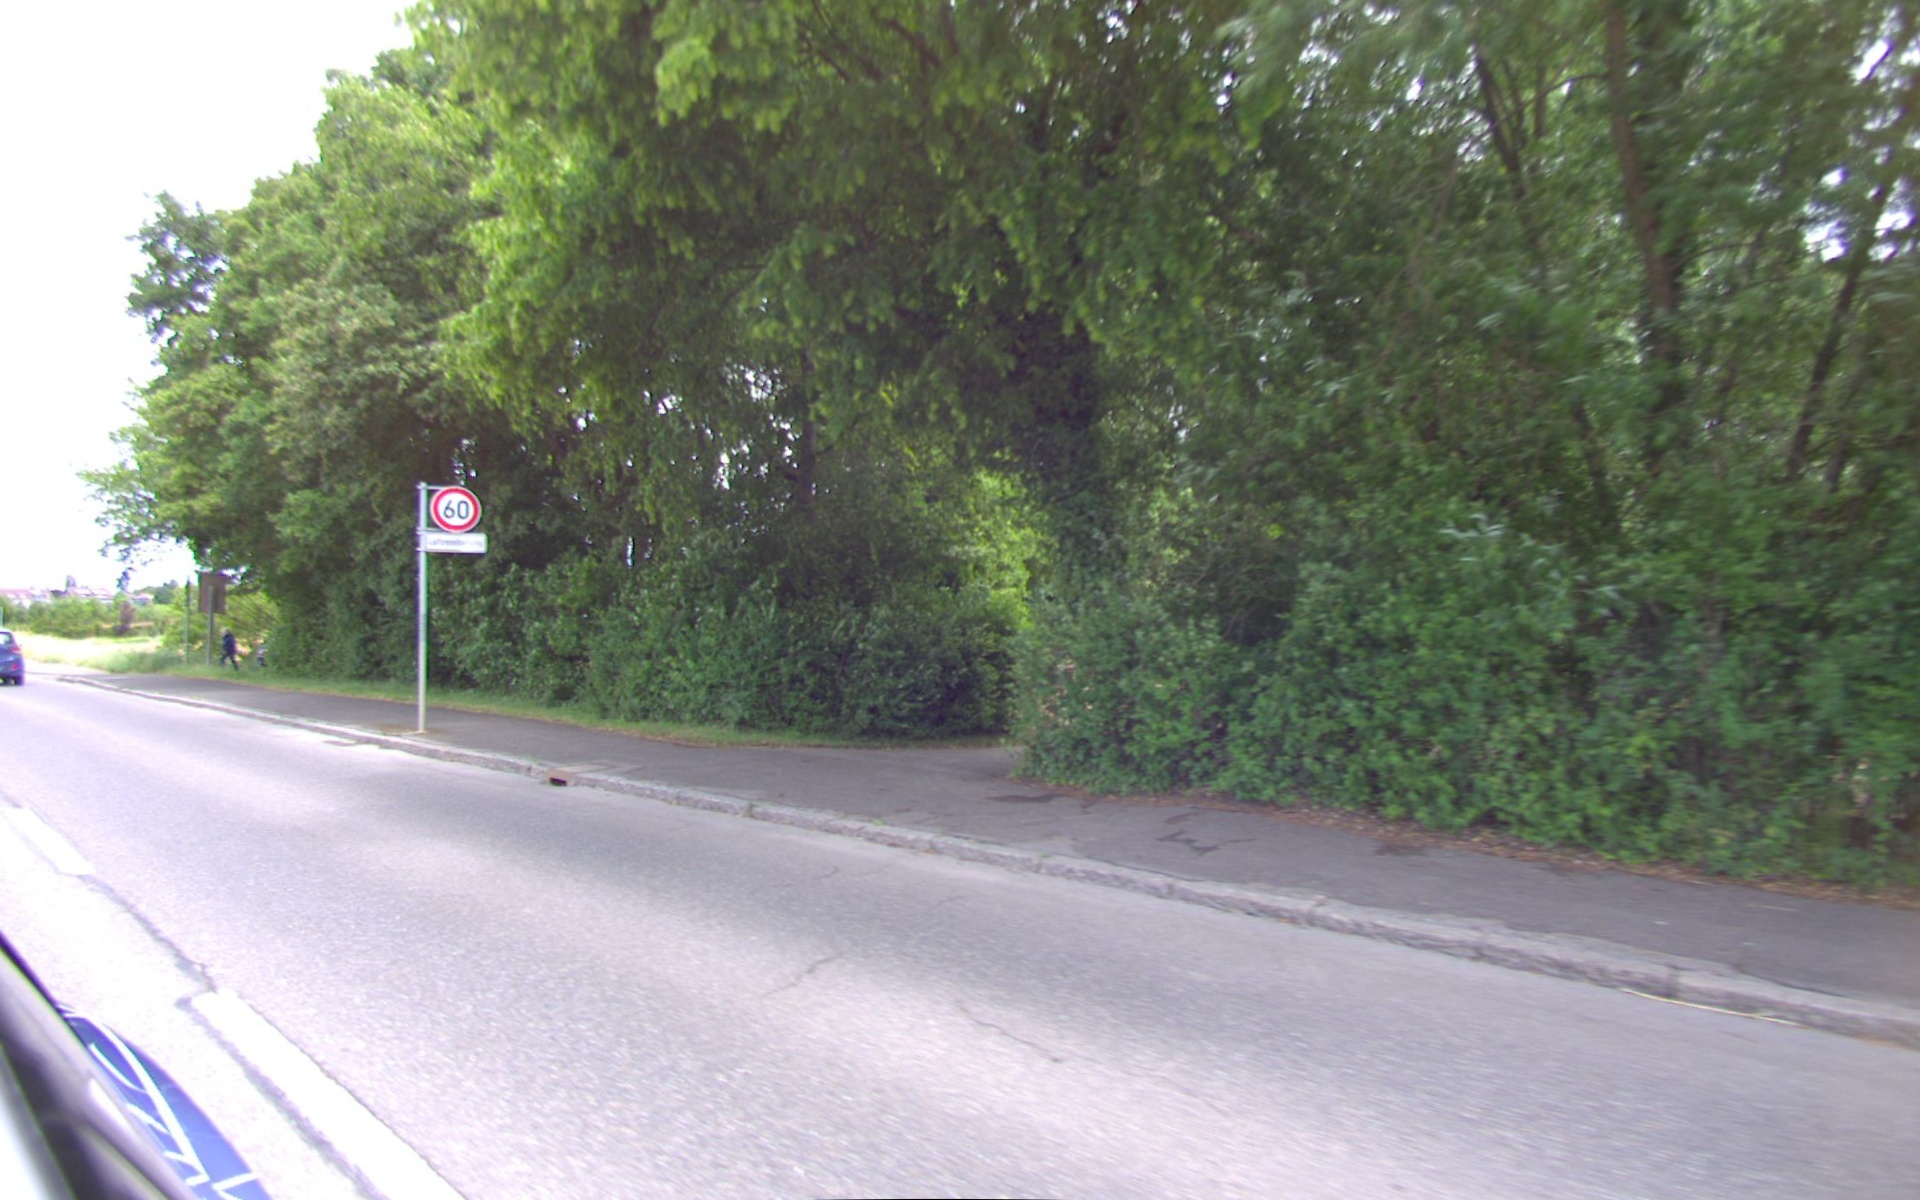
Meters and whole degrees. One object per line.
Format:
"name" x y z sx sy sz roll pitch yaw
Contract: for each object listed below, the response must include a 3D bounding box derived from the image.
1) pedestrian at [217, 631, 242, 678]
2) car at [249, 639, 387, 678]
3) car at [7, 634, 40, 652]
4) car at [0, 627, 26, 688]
"pedestrian" -25.473 1.892 35.294 0.695 1.606 0.708 0 -3 -38
"car" -23.060 2.099 36.409 3.938 1.321 1.747 3 -3 -42
"car" -70.042 3.198 75.705 3.598 1.260 1.433 -1 0 41
"car" -25.665 1.455 26.248 3.823 1.540 1.689 -1 -3 41
